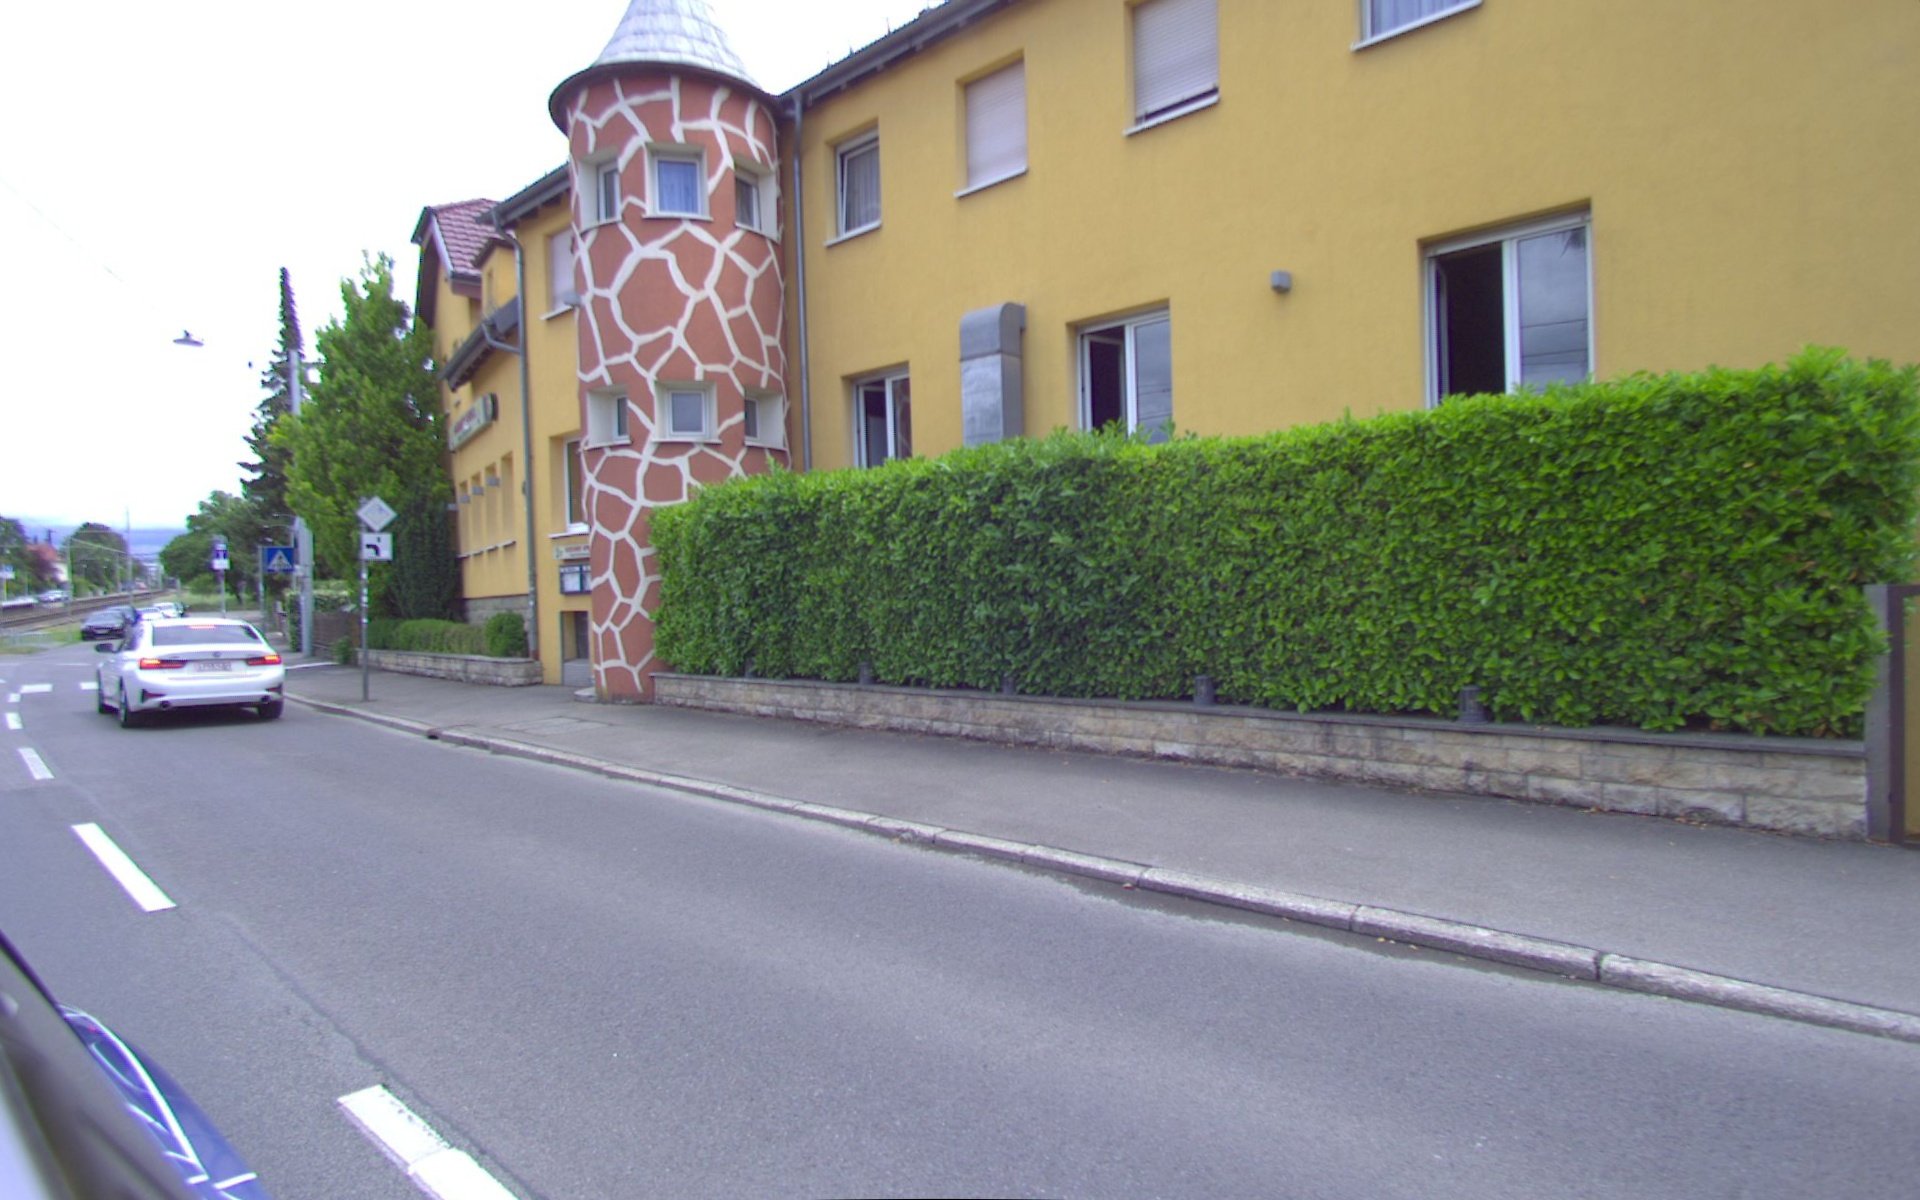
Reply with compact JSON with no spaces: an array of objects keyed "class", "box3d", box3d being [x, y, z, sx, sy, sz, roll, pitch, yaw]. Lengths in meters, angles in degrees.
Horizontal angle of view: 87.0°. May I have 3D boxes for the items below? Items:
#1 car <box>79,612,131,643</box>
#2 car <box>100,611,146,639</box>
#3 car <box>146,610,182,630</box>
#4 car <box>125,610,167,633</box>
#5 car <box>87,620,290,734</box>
[{"class":"car","box3d":[-45.699,1.422,54.173,1.793,1.512,4.129,-3,1,-36]},{"class":"car","box3d":[-49.415,1.431,59.816,1.793,1.512,4.129,-3,1,-36]},{"class":"car","box3d":[-61.172,1.541,77.817,1.824,1.386,4.011,-3,1,-34]},{"class":"car","box3d":[-54.916,1.412,68.361,1.824,1.386,4.011,-3,1,-34]},{"class":"car","box3d":[-11.449,1.017,14.892,1.797,1.430,4.466,1,-2,-45]}]
